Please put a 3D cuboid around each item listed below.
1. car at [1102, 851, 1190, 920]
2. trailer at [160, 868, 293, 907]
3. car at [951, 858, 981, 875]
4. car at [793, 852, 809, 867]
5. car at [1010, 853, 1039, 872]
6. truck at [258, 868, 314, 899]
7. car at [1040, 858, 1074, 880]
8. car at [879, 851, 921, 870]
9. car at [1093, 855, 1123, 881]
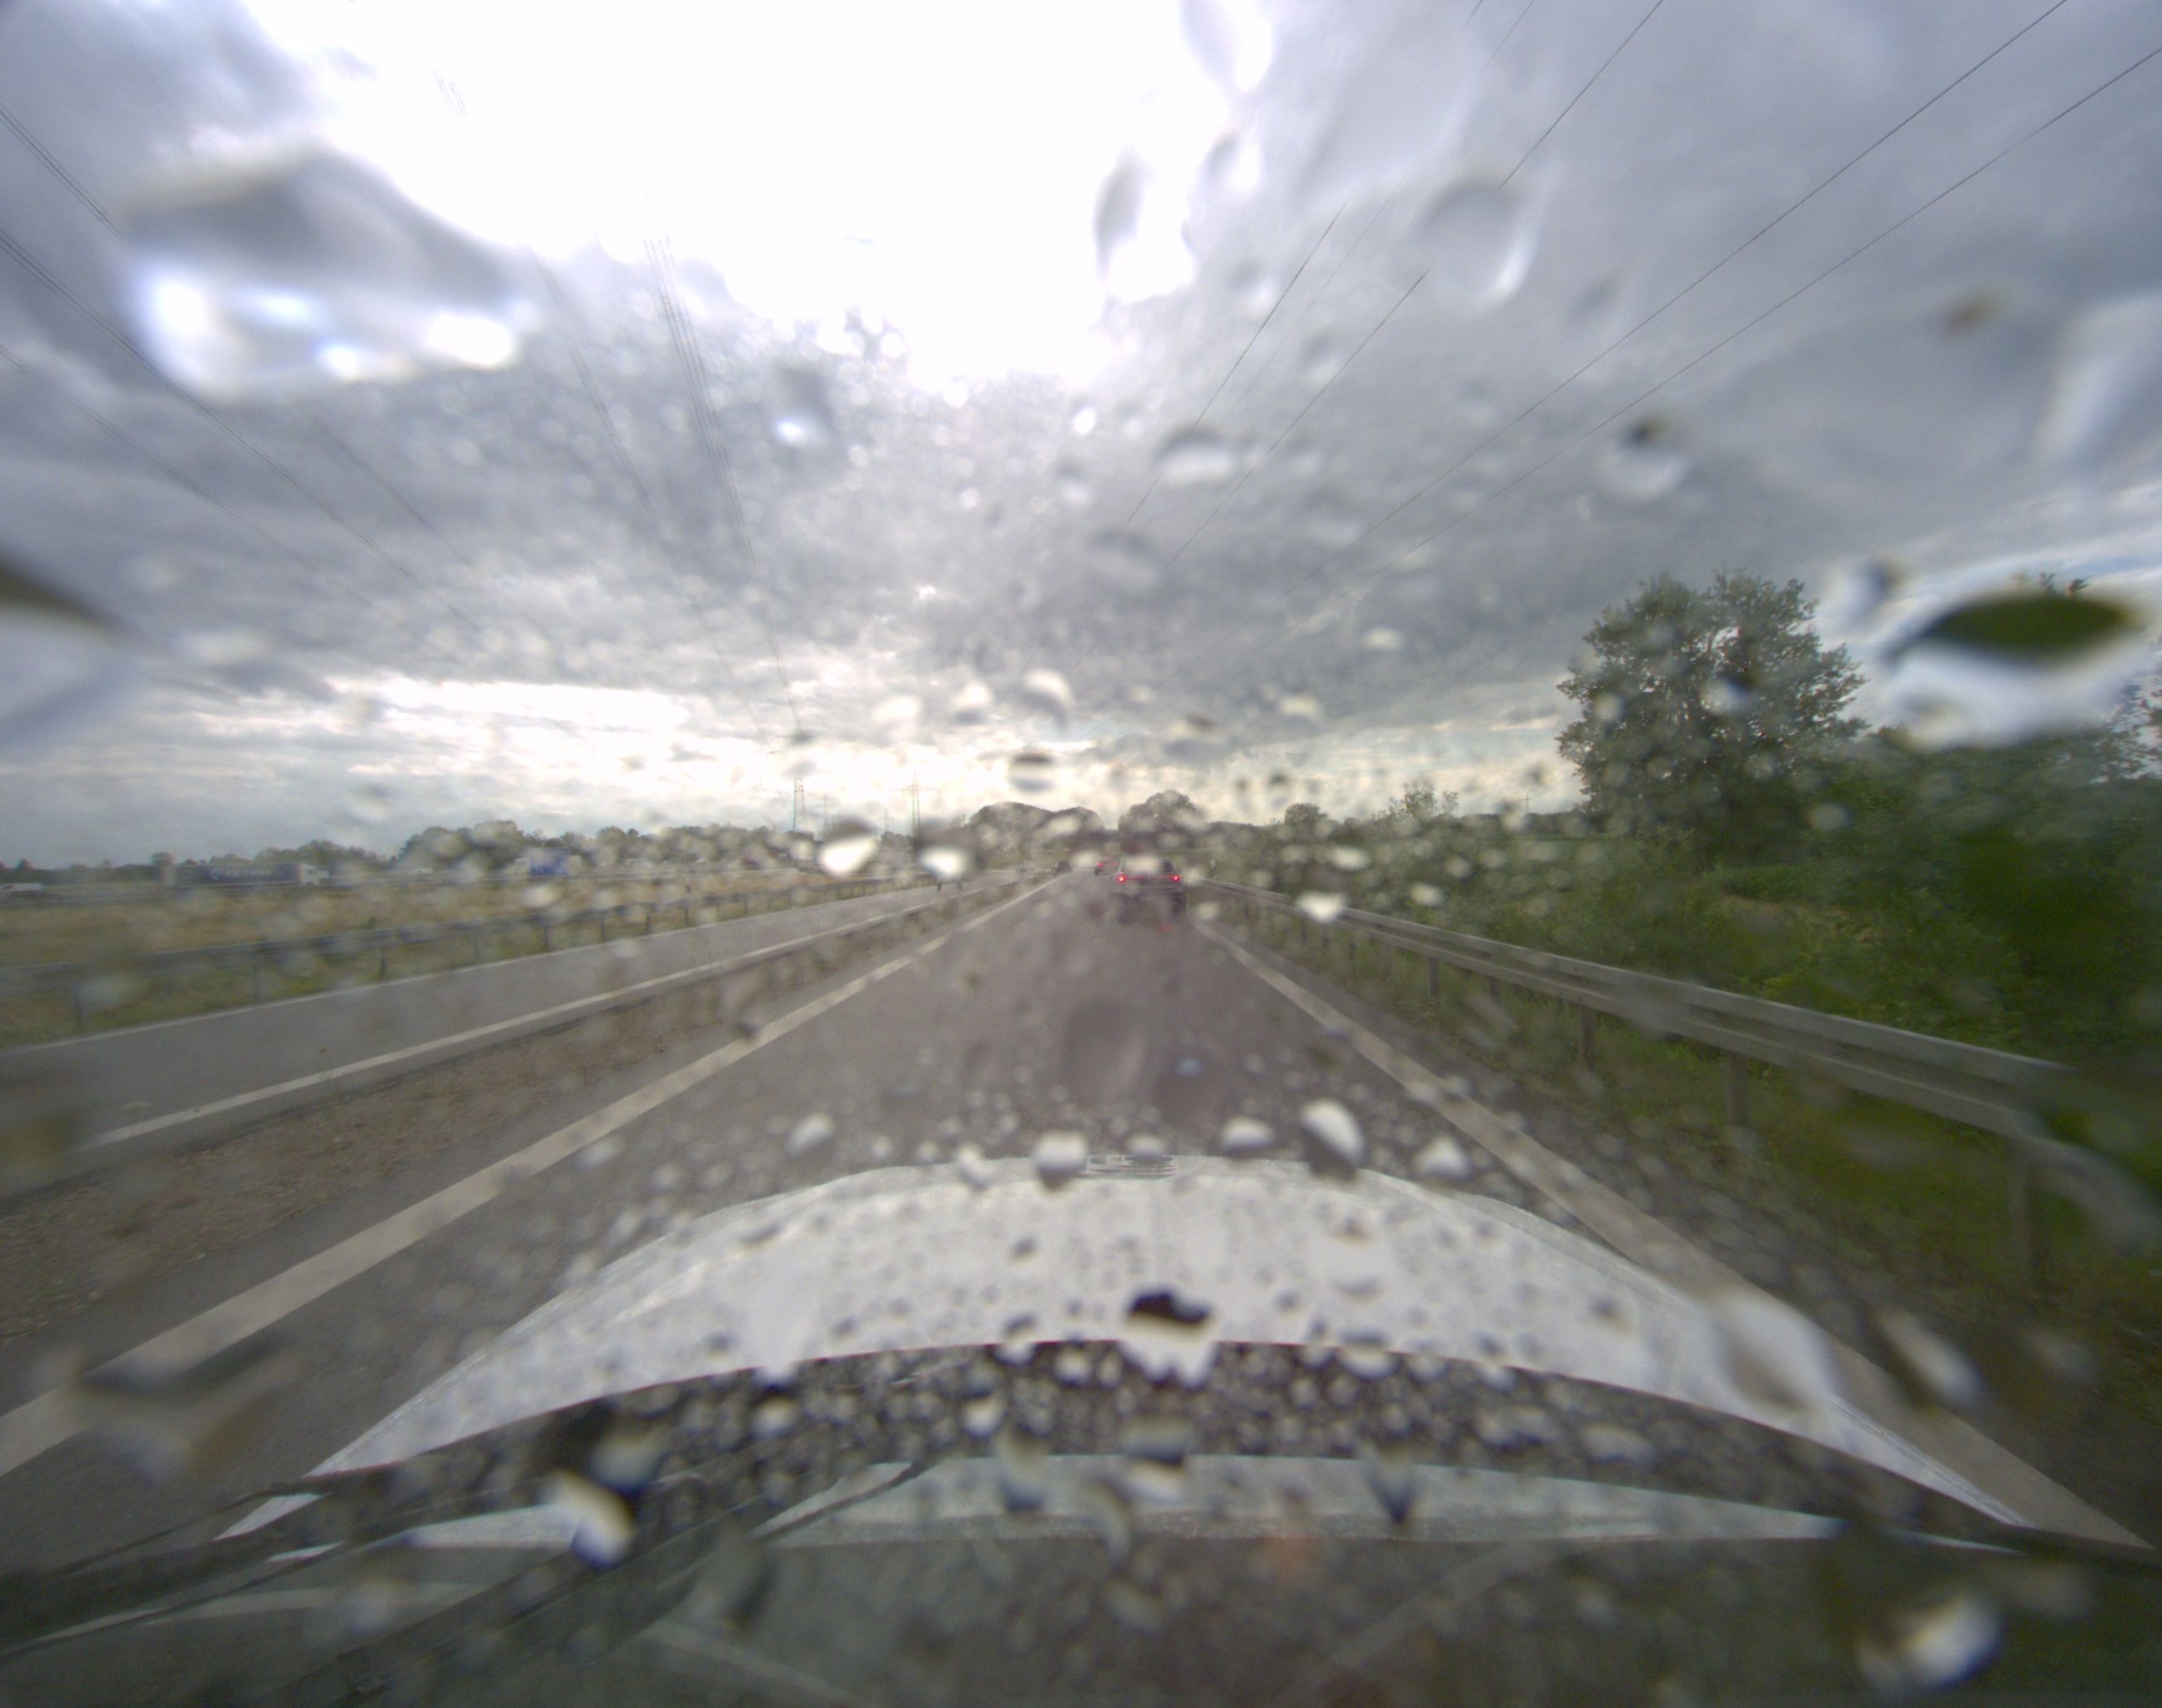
[{"bbox_3d":[1.614,0.710,20.664,1.985,1.566,4.153,-1,0,4],"label":"car"},{"bbox_3d":[-125.132,4.802,119.715,3.025,4.634,13.361,-1,2,16],"label":"trailer"},{"bbox_3d":[-17.693,1.890,125.103,2.369,2.306,5.074,-3,3,-35],"label":"car"},{"bbox_3d":[-70.104,1.463,203.918,3.391,3.610,8.994,-2,0,-16],"label":"car"},{"bbox_3d":[-7.829,1.159,112.087,2.362,2.306,5.088,-3,2,-24],"label":"car"},{"bbox_3d":[-123.257,4.520,126.369,3.045,4.478,5.095,-1,2,15],"label":"truck"},{"bbox_3d":[-2.878,1.709,94.963,2.360,2.306,5.093,-3,2,-21],"label":"car"},{"bbox_3d":[-31.177,1.074,140.365,7.116,2.951,3.167,0,3,38],"label":"car"},{"bbox_3d":[2.201,1.115,68.101,2.115,2.018,5.531,-2,0,-1],"label":"car"}]
